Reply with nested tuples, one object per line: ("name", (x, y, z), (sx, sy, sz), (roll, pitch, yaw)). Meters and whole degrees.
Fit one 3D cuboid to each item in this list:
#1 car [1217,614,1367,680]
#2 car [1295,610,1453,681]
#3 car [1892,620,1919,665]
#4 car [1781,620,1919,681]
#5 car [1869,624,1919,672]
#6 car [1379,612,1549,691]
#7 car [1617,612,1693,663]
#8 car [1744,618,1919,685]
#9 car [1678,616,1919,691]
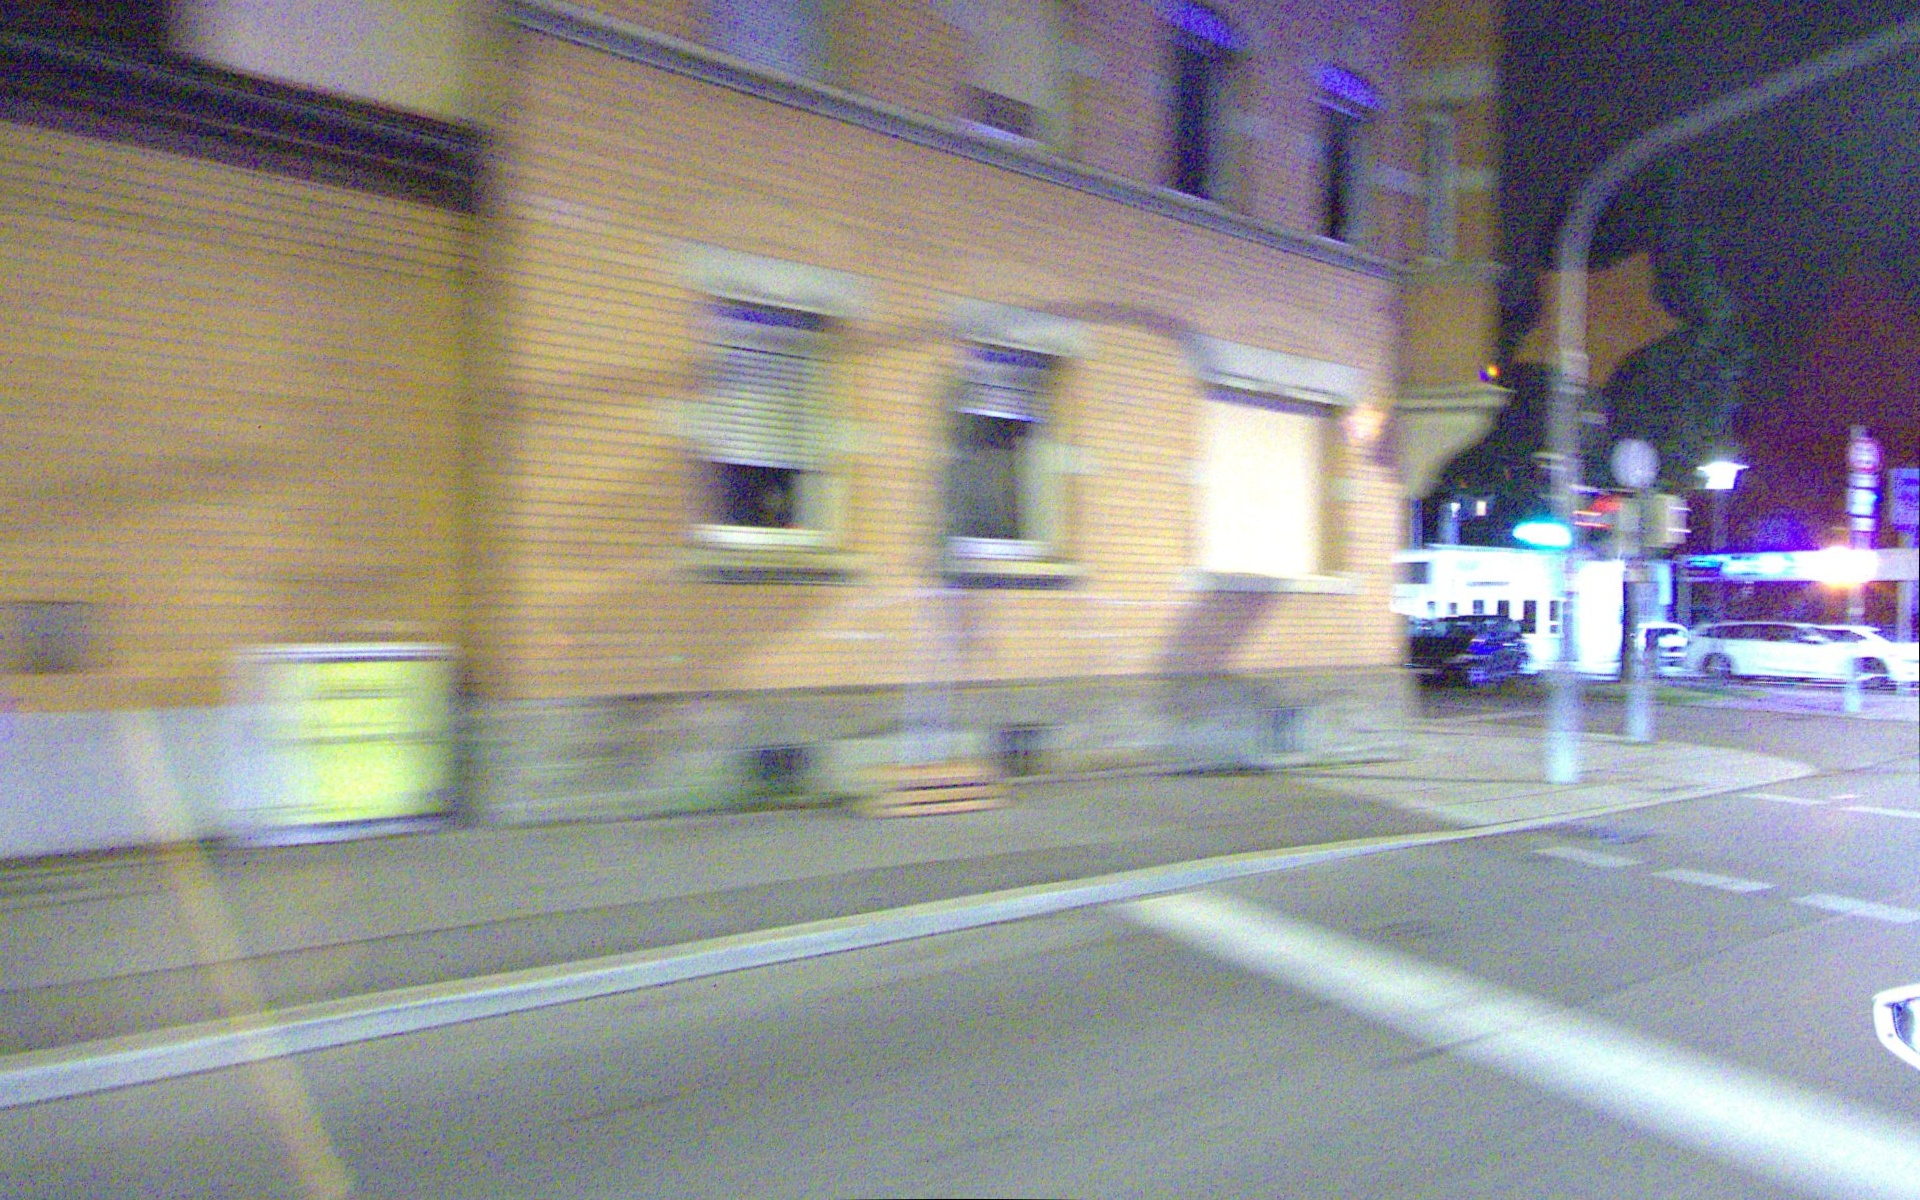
("car", (9.195, 1.236, 27.722), (3.961, 1.644, 1.980), (1, 1, -36))
("car", (10.707, 1.116, 25.907), (3.961, 1.644, 1.980), (1, 1, -36))
("car", (33.131, 1.442, 32.192), (1.978, 1.469, 4.415), (2, 0, -31))
("car", (24.910, 1.337, 26.676), (1.978, 1.469, 4.415), (2, 0, -31))
("car", (31.107, 1.536, 30.821), (1.978, 1.469, 4.415), (2, 0, -31))
("car", (11.866, 1.132, 23.578), (3.961, 1.644, 1.980), (1, 1, -36))
("car", (26.392, 1.408, 38.270), (1.964, 1.798, 3.993), (1, -1, 29))
("car", (22.408, 1.255, 24.787), (1.978, 1.469, 4.414), (2, -1, -32))
("car", (19.723, 1.173, 23.437), (1.978, 1.469, 4.415), (2, 0, -31))
